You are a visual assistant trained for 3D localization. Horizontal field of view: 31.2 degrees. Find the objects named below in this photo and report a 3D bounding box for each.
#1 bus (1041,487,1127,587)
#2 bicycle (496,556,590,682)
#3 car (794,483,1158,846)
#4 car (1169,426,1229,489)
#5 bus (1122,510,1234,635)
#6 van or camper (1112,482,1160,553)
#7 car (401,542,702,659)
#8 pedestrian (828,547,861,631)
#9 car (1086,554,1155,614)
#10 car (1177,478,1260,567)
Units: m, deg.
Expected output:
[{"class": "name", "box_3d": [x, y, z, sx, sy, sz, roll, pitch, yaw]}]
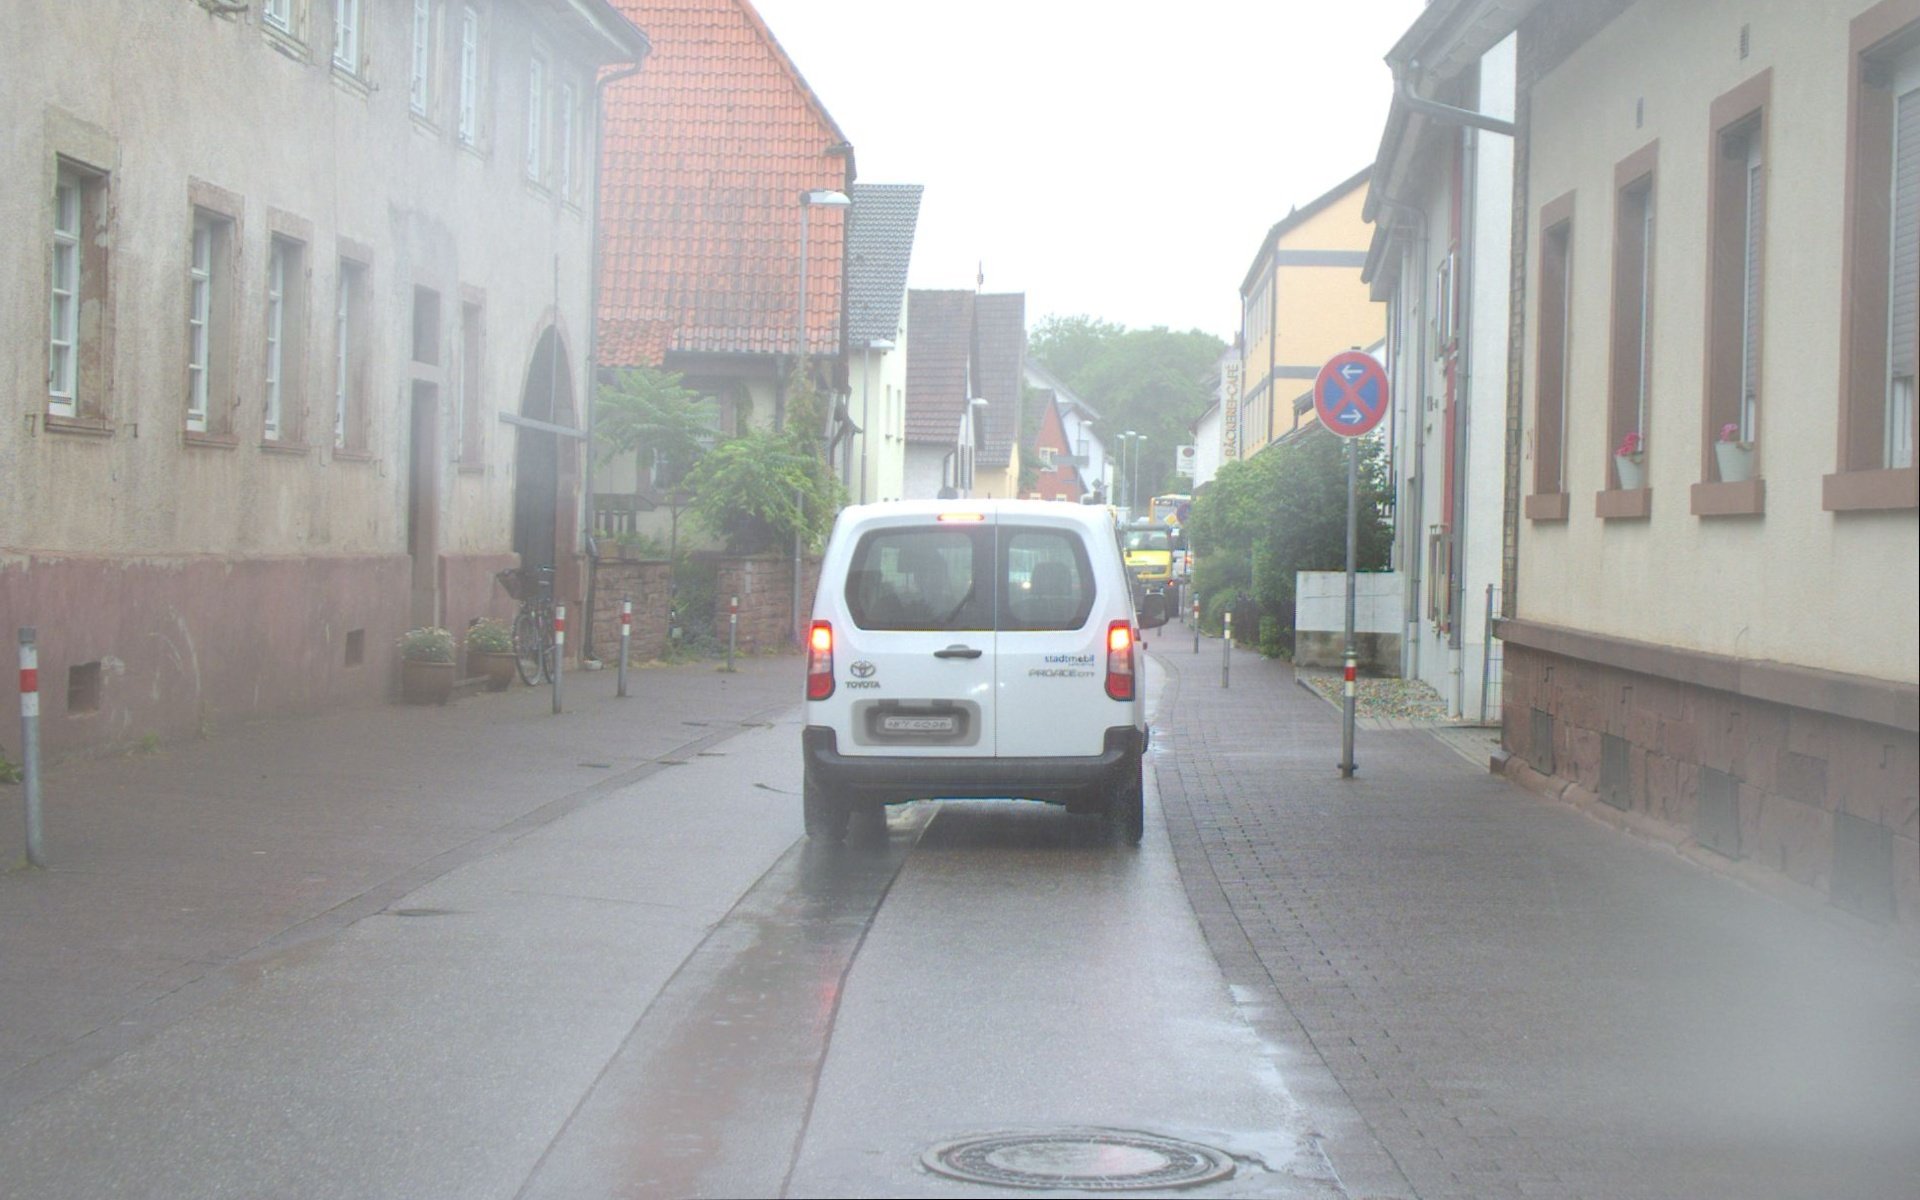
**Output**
[{"class": "bus", "box_3d": [4.540, -2.218, 124.329, 2.794, 3.317, 8.177, 3, 0, 3]}, {"class": "bicycle", "box_3d": [-4.048, 0.178, 33.459, 0.483, 1.176, 1.835, 3, 0, 5]}, {"class": "car", "box_3d": [0.193, 0.316, 19.258, 1.795, 1.812, 4.101, 0, 0, 4]}, {"class": "car", "box_3d": [8.534, -5.068, 122.520, 1.994, 2.007, 3.999, 3, 0, 4]}, {"class": "bus", "box_3d": [6.015, -0.732, 95.657, 2.794, 3.169, 8.177, 3, 0, 3]}, {"class": "van or camper", "box_3d": [7.809, -3.619, 152.270, 1.835, 2.915, 5.362, 3, 0, 5]}, {"class": "car", "box_3d": [-5.196, -0.009, 43.923, 3.528, 1.371, 1.594, 2, 1, 6]}, {"class": "pedestrian", "box_3d": [-2.120, -0.198, 63.011, 0.567, 1.525, 0.569, 0, 0, -6]}, {"class": "car", "box_3d": [3.956, -0.380, 84.533, 1.562, 1.367, 3.584, 3, 0, 4]}, {"class": "car", "box_3d": [6.258, -1.854, 83.542, 1.827, 2.007, 3.693, 3, 0, 3]}]
